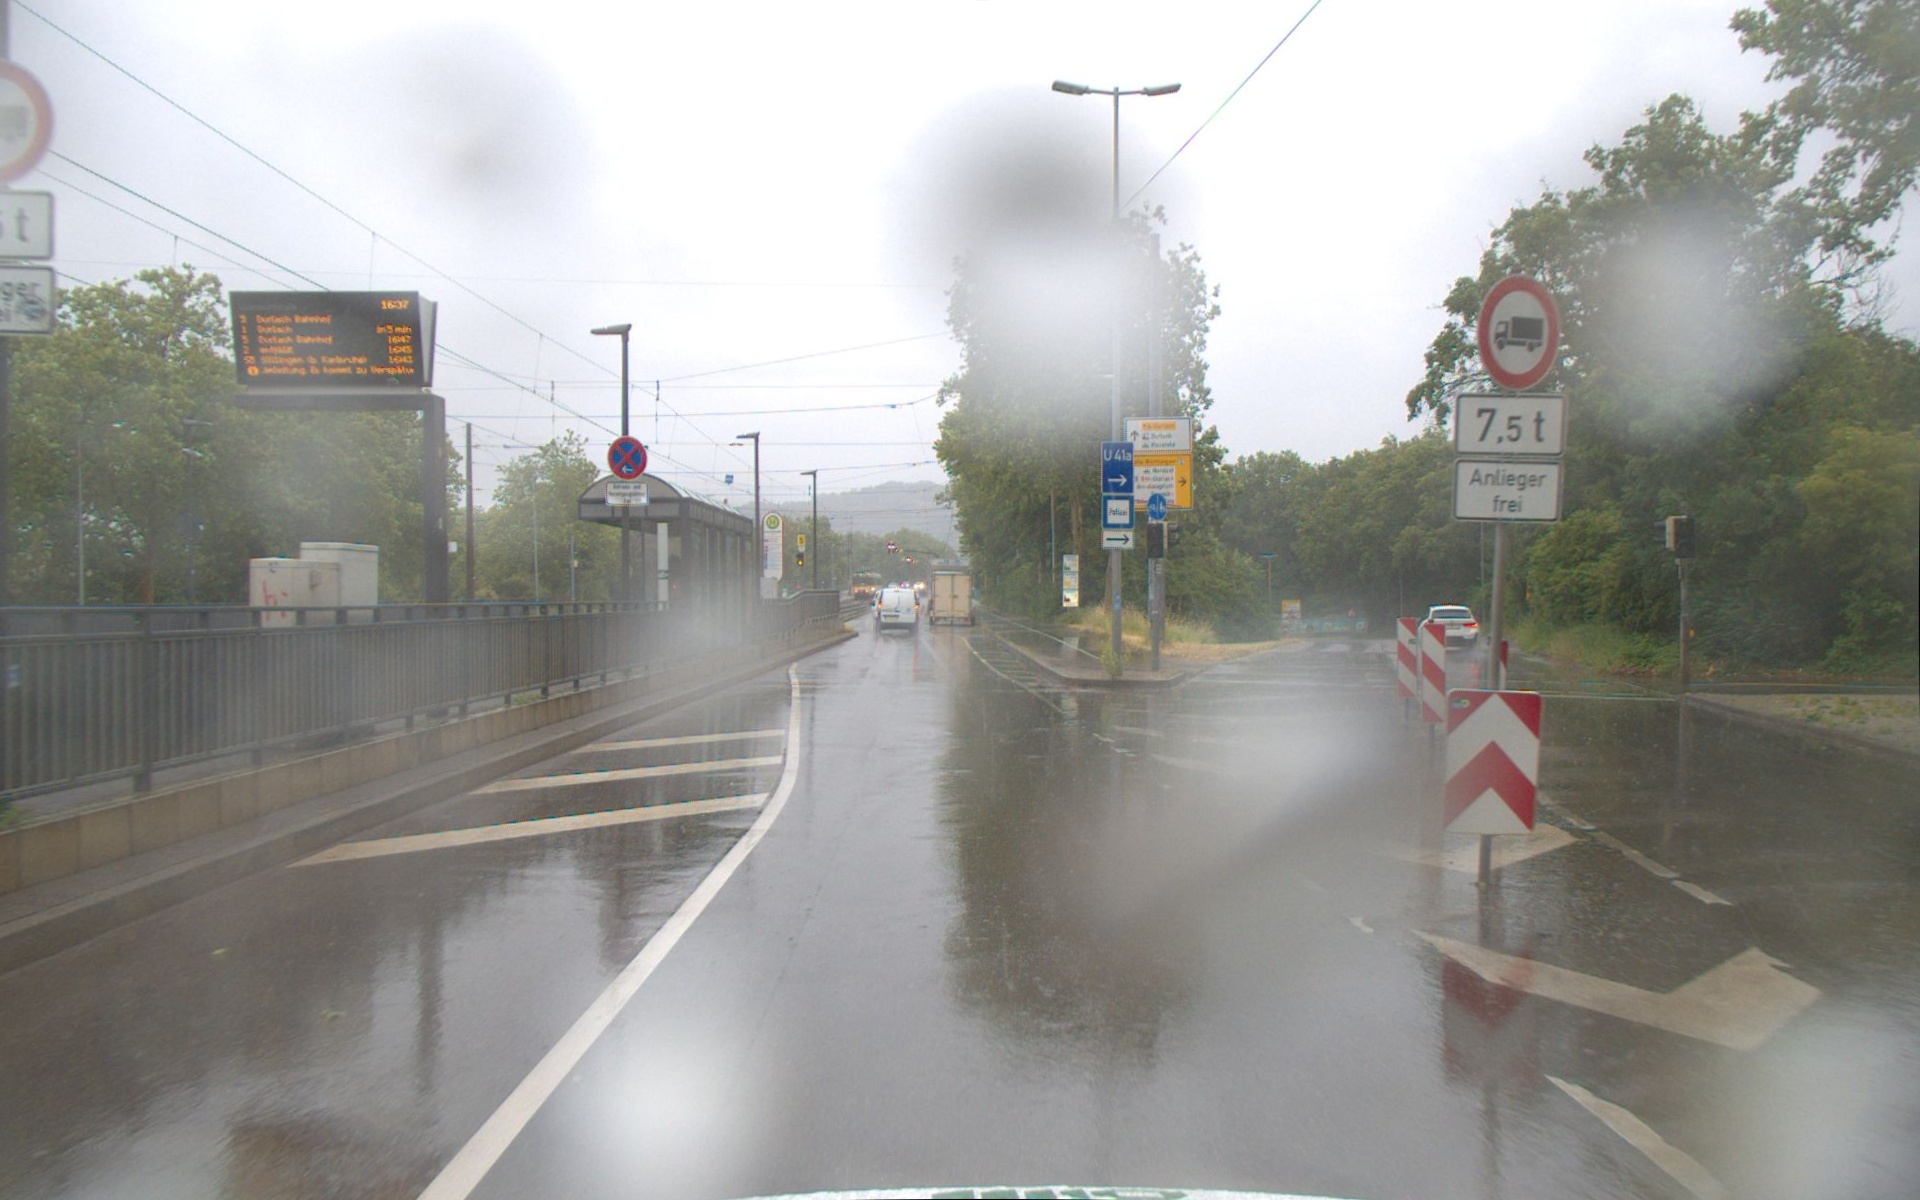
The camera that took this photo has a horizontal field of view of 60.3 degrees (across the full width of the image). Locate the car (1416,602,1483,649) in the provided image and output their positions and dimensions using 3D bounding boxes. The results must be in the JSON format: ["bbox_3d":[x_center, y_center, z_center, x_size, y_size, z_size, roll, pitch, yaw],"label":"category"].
[{"bbox_3d":[15.772,0.792,53.178,1.849,1.456,4.001,0,0,19],"label":"car"}]

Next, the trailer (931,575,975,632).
[{"bbox_3d":[-0.318,0.205,84.947,2.121,2.806,5.677,0,-1,1],"label":"trailer"}]

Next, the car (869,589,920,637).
[{"bbox_3d":[-2.695,0.529,67.216,1.954,1.881,3.996,0,0,-4],"label":"car"}]

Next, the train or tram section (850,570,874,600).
[{"bbox_3d":[-13.864,-2.062,235.162,2.749,4.222,13.017,0,0,-1],"label":"train or tram section"}]

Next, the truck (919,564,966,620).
[{"bbox_3d":[-1.286,-0.464,116.089,2.721,3.769,9.843,0,-1,-4],"label":"truck"}]
